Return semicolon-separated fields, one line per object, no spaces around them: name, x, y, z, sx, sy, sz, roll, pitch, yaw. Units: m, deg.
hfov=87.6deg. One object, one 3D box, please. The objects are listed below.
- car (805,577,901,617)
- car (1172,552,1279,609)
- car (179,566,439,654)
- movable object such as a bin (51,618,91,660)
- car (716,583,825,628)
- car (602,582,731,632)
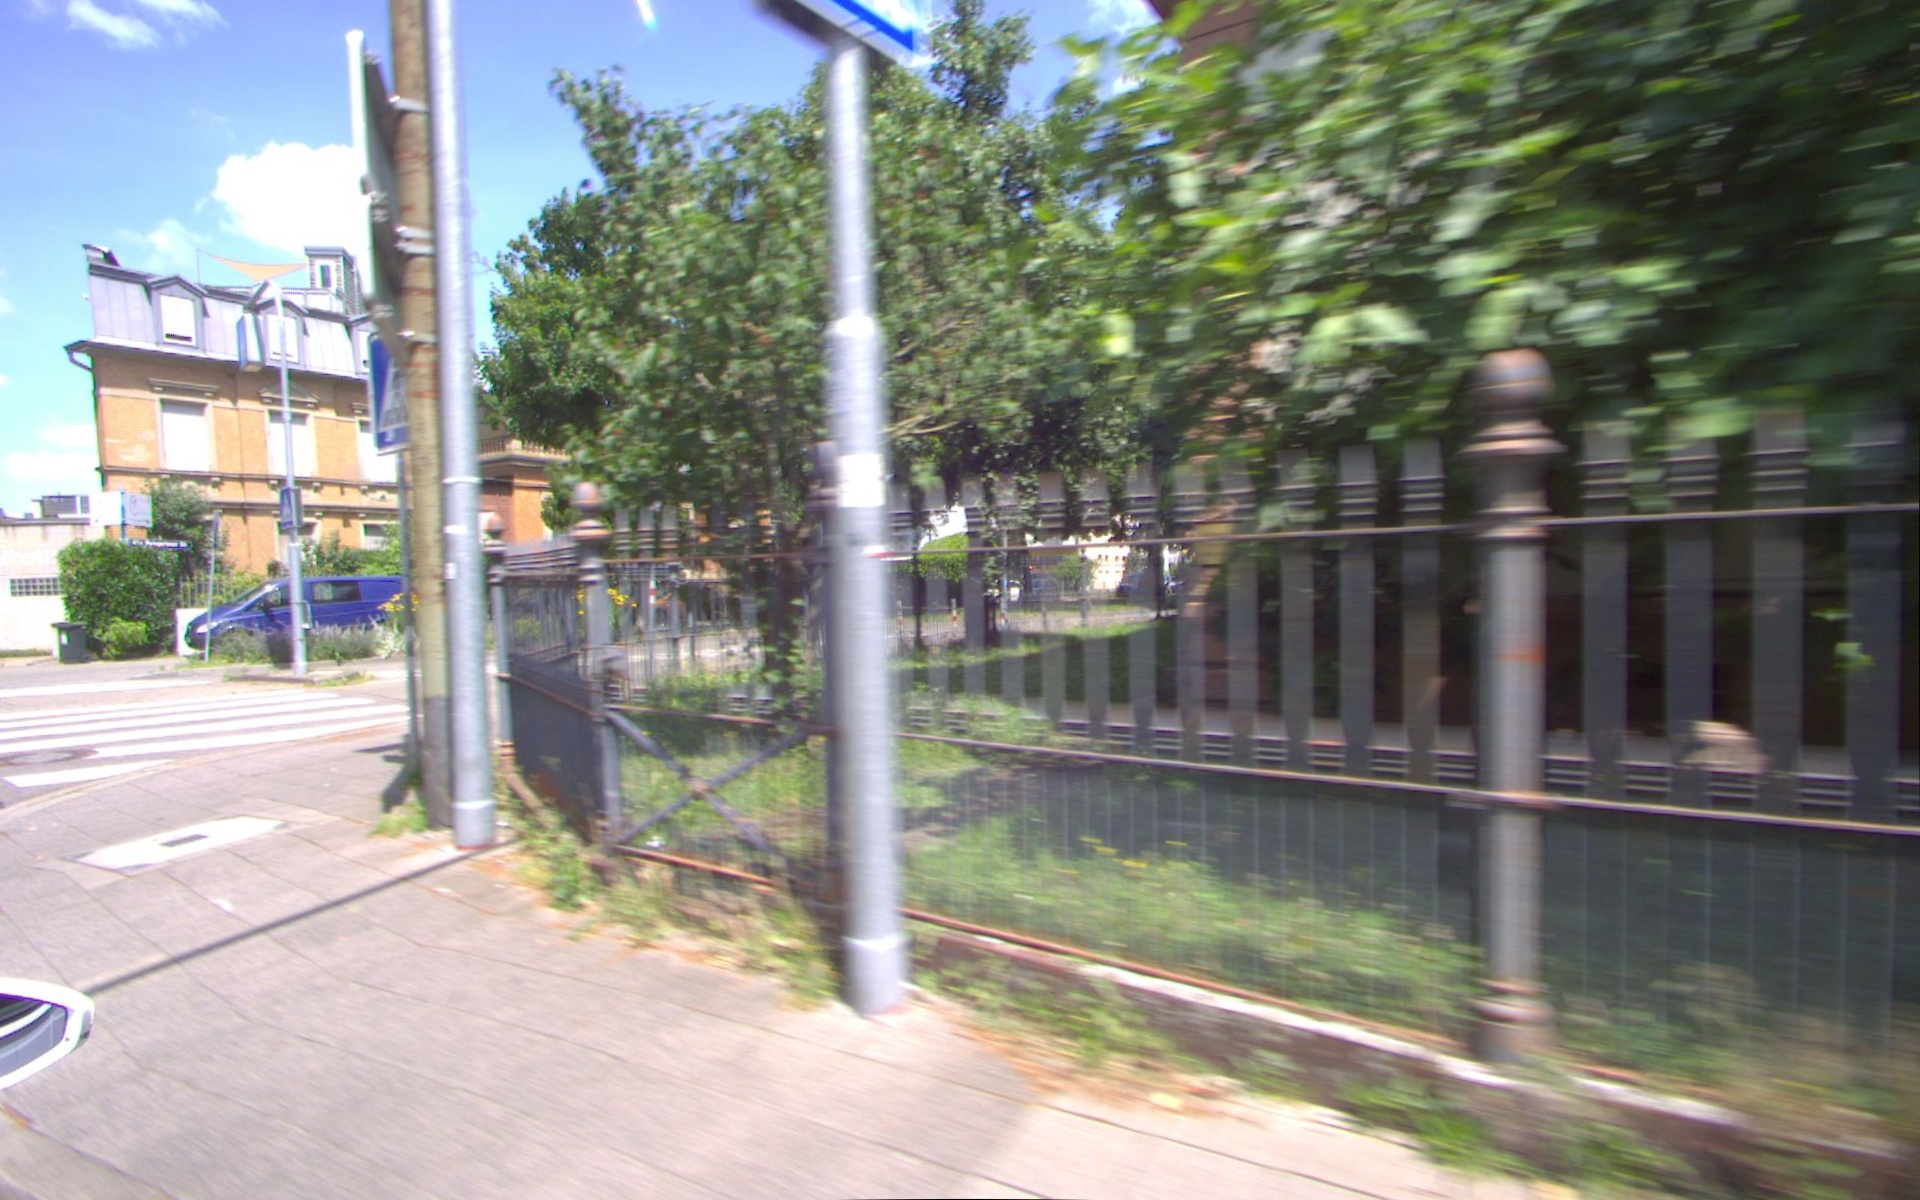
car;-4.670;-0.119;44.486;1.835;1.611;4.434;-3;-2;33
car;8.117;-0.585;30.450;1.588;1.573;3.698;5;3;42
car;-16.581;0.167;25.757;2.059;1.974;5.197;1;3;41
movable object such as a bin;-20.240;0.885;22.798;0.549;0.928;0.420;-2;-1;8
car;-7.496;0.229;39.951;1.835;1.611;4.220;-3;-2;33
car;-10.372;0.247;35.700;1.835;1.611;4.220;-3;-2;33
